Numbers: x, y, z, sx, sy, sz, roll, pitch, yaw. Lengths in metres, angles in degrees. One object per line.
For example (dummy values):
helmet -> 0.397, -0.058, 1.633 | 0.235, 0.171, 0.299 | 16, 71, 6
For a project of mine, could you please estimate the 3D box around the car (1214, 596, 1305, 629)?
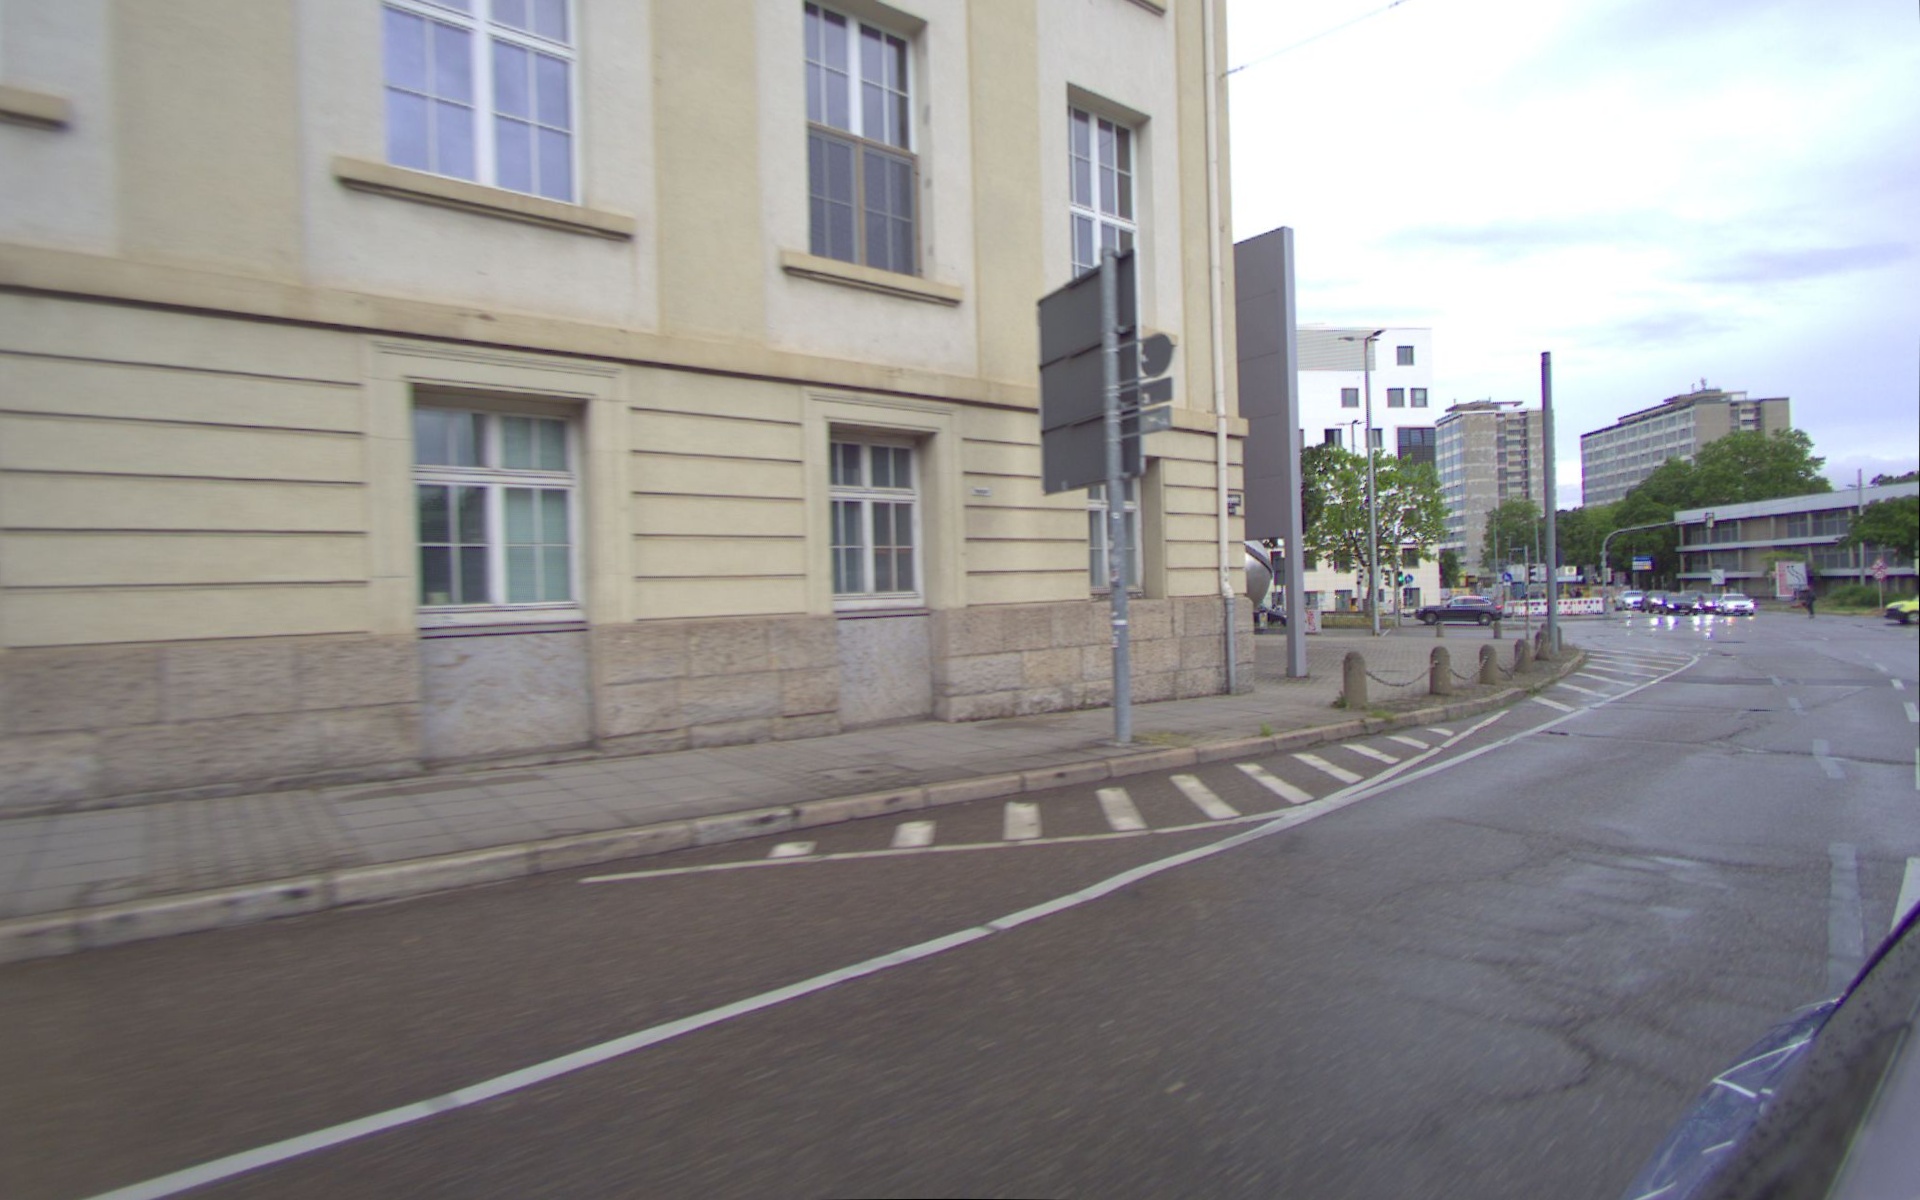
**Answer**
car -> 15.689, 0.628, 52.948 | 4.437, 1.618, 1.972 | 0, 0, 22

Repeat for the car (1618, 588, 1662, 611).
car -> 57.684, -0.060, 85.931 | 2.051, 1.935, 4.532 | 0, 0, 20

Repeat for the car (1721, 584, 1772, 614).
car -> 52.965, -0.075, 68.232 | 2.059, 1.935, 4.515 | 0, 0, 30

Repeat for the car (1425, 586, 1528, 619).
car -> 29.915, 0.143, 58.799 | 5.237, 1.824, 2.031 | 0, 0, 25

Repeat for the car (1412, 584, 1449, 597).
car -> 61.263, -1.239, 131.805 | 1.810, 1.725, 3.991 | 0, 0, -43

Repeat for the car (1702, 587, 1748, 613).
car -> 55.687, -0.019, 73.744 | 2.059, 1.850, 4.515 | 0, 0, 30

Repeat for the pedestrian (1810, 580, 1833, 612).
pedestrian -> 50.674, -0.249, 59.507 | 0.533, 1.819, 0.901 | -1, -2, -44

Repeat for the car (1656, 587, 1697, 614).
car -> 53.827, 0.018, 76.136 | 2.059, 1.935, 4.515 | 0, 0, 30

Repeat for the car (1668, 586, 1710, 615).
car -> 50.620, 0.025, 70.328 | 1.868, 1.892, 4.302 | 0, 0, 30

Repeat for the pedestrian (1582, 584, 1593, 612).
pedestrian -> 46.386, -0.138, 74.787 | 0.637, 2.039, 0.589 | -1, -1, 27

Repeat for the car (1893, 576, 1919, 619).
car -> 48.042, -0.126, 48.304 | 4.788, 2.033, 2.098 | 0, 0, 33
